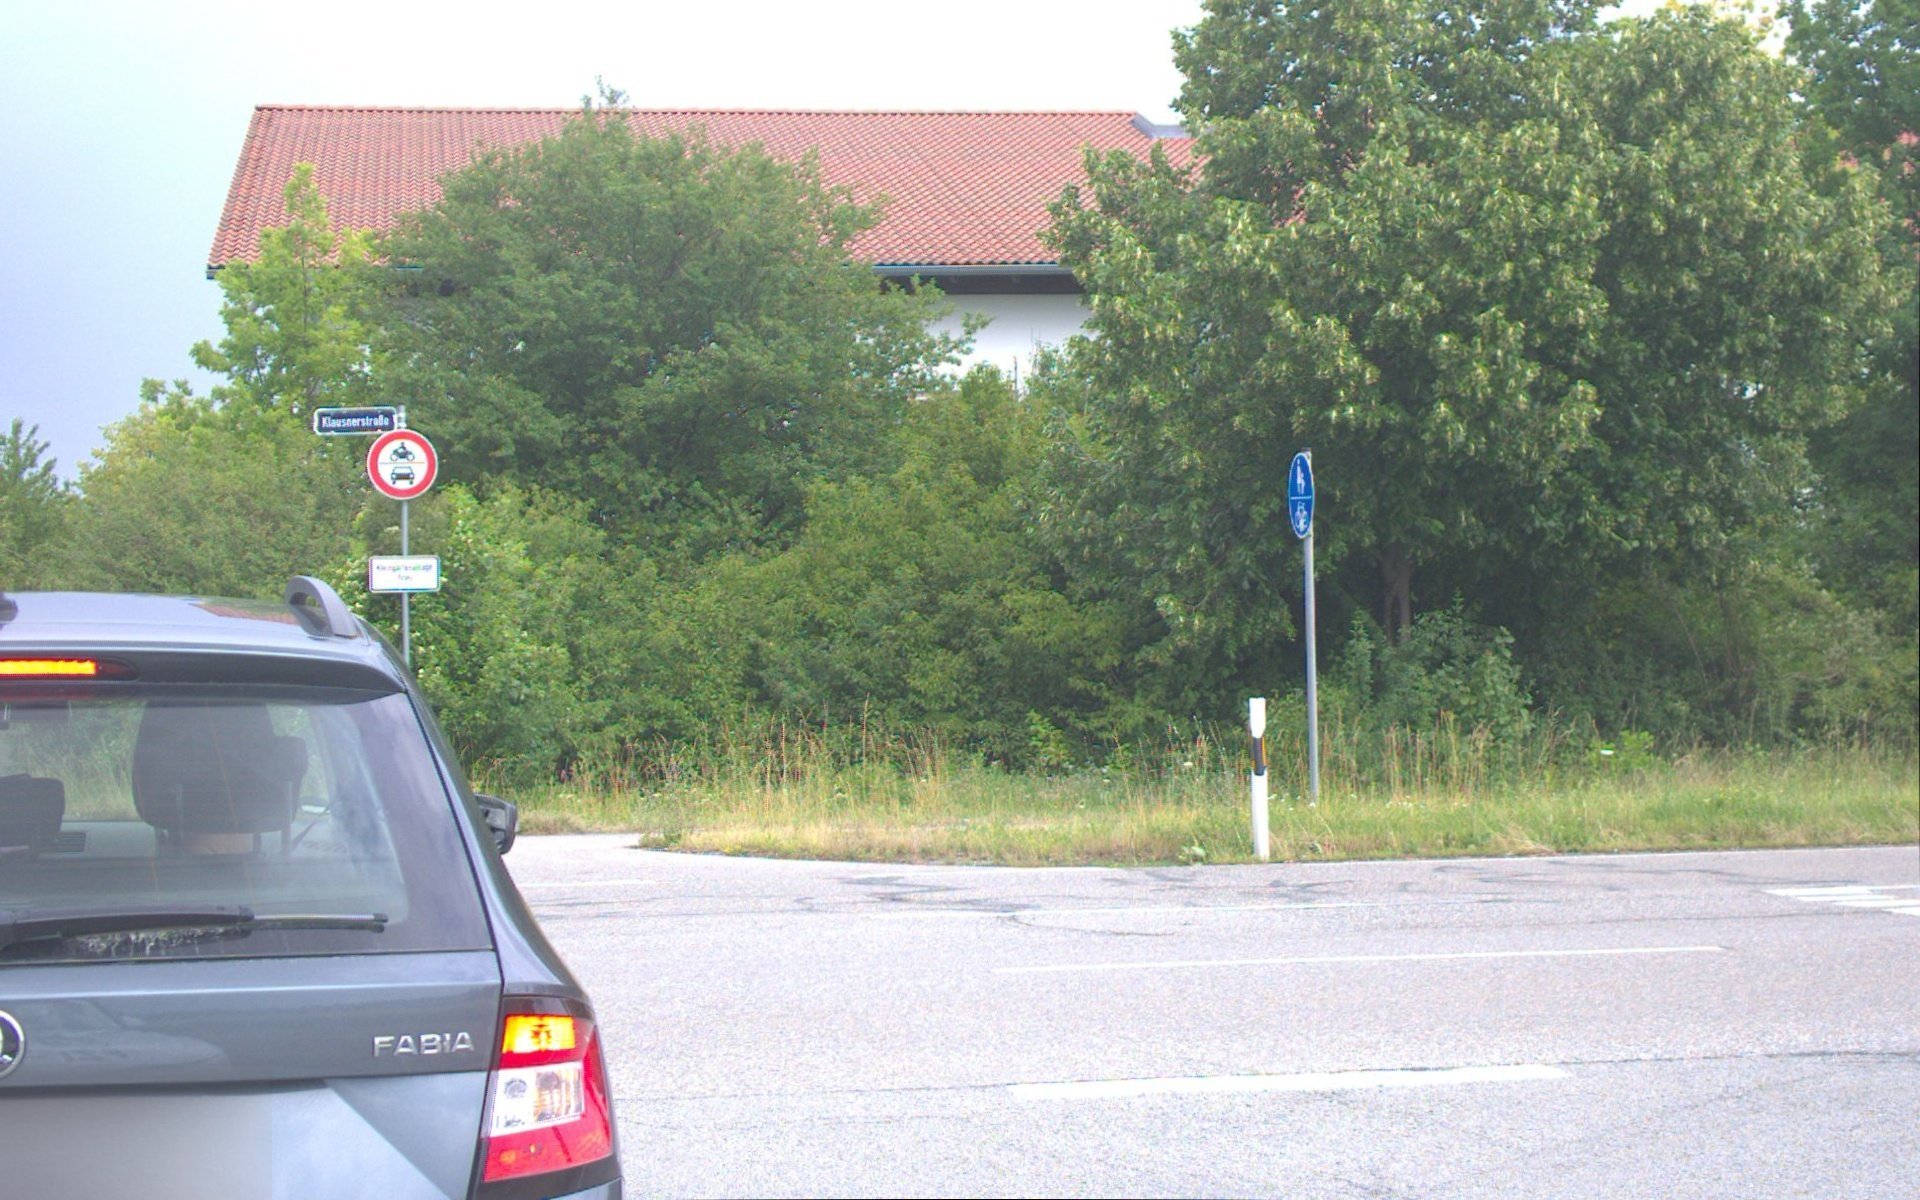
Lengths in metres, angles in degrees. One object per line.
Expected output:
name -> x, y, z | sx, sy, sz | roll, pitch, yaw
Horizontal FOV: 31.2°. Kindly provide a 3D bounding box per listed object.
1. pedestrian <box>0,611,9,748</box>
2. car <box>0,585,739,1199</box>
pedestrian -> -12.087, 0.984, 42.096 | 0.584, 1.677, 0.565 | -1, 1, 18
car -> -1.573, 0.722, 5.454 | 1.676, 1.458, 3.708 | 0, 0, -16
